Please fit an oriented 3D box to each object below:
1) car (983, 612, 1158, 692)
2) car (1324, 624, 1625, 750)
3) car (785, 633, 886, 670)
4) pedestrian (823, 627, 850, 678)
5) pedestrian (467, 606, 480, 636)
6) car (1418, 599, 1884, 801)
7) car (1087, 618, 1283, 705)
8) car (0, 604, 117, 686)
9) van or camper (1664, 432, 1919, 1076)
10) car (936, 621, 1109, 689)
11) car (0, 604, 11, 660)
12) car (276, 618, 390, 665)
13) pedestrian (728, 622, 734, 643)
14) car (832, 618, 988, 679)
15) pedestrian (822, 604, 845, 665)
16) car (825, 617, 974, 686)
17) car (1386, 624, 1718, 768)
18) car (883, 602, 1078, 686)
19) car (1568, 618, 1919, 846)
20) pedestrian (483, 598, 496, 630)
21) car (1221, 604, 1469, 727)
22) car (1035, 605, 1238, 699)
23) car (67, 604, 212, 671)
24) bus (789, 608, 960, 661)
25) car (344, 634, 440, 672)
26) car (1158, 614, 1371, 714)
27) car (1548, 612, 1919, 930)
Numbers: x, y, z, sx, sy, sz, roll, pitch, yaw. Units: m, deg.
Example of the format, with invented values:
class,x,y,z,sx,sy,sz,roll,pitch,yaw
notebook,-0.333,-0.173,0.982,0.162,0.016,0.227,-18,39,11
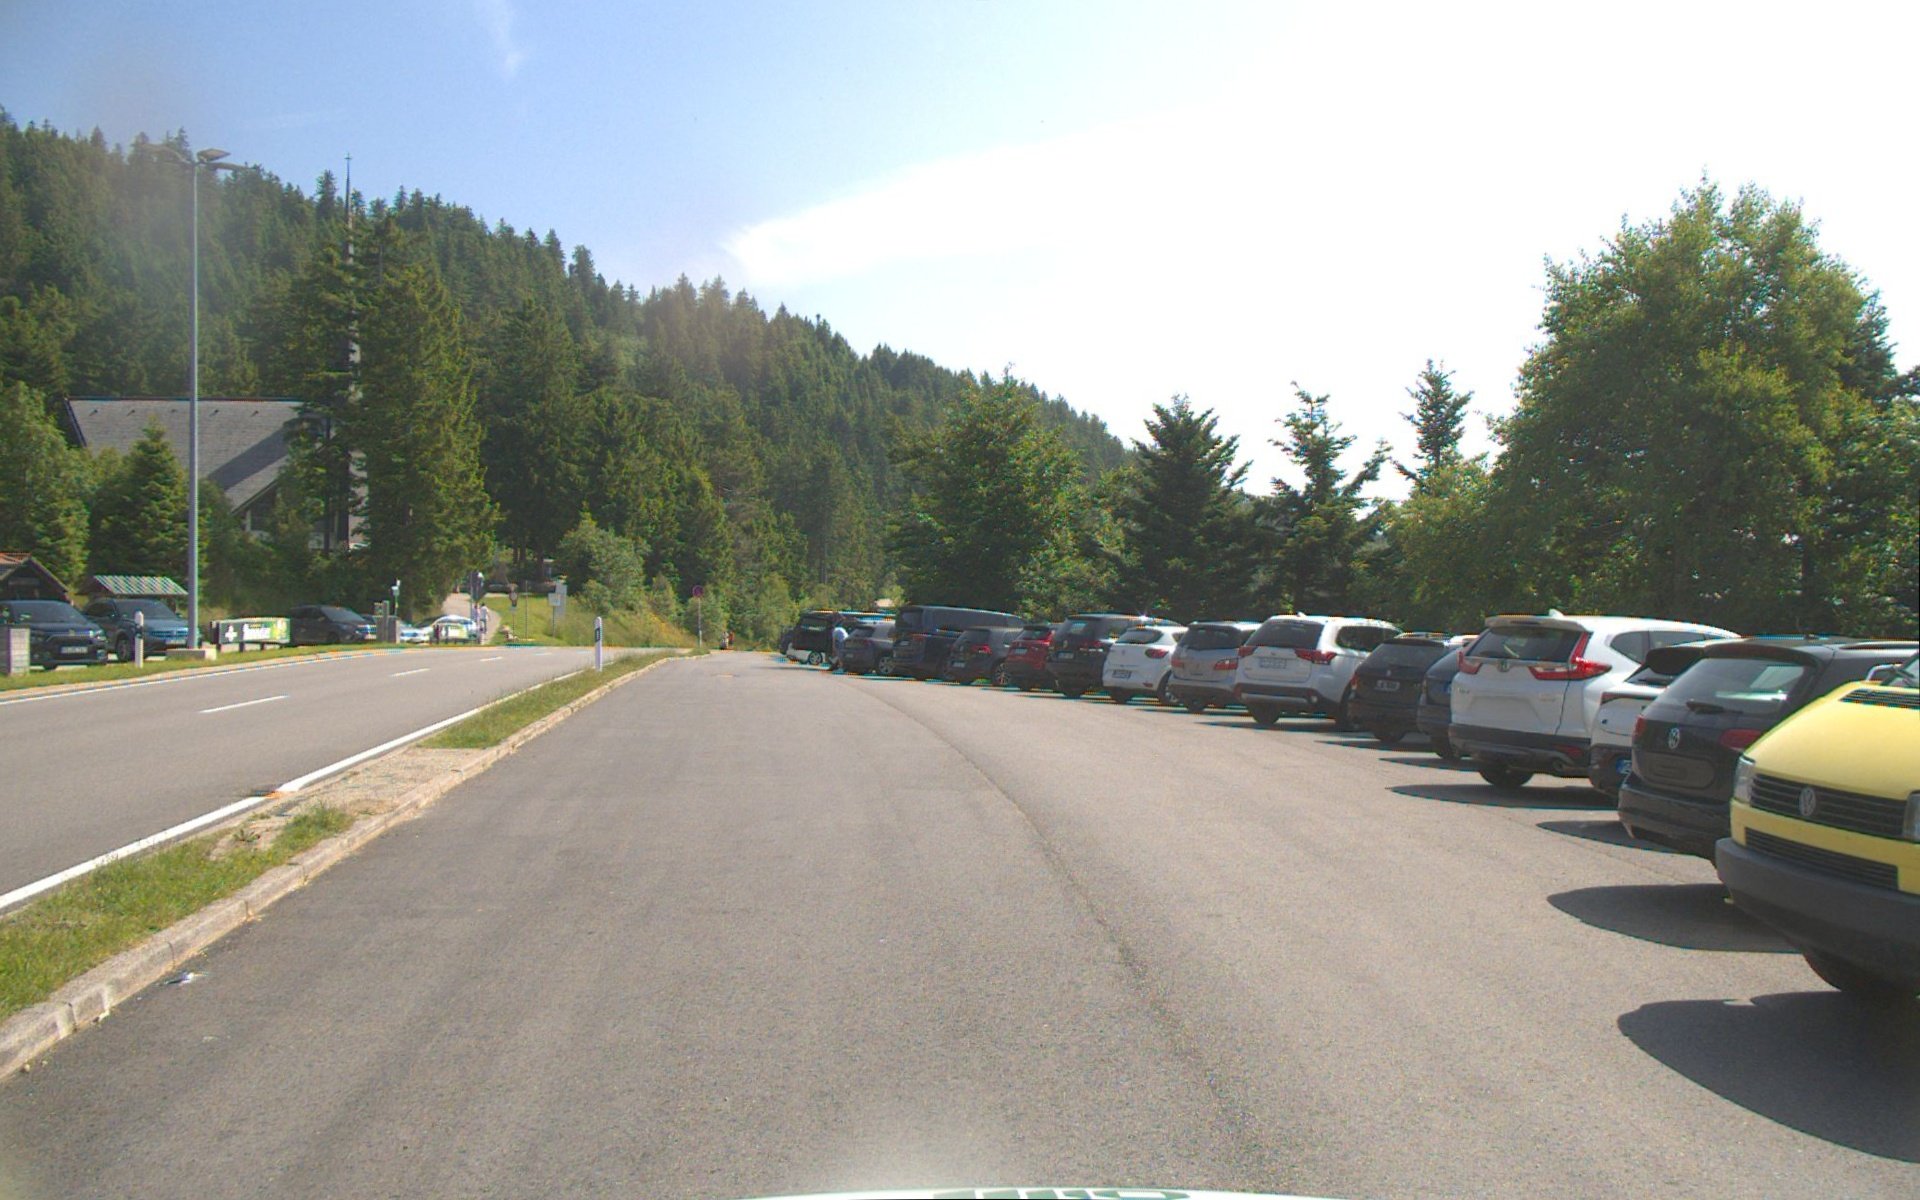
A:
class,x,y,z,sx,sy,sz,roll,pitch,yaw
car,2.581,1.217,38.134,1.833,1.617,3.971,2,-2,45
car,7.025,1.192,22.445,4.006,1.487,1.871,4,-2,-36
car,-5.866,2.434,77.991,4.395,1.321,1.570,6,-2,-24
pedestrian,-3.554,1.515,47.644,0.758,1.427,0.669,0,0,-1
pedestrian,-27.300,1.189,92.864,0.641,1.696,0.640,0,-3,-14
car,6.603,0.958,15.761,4.123,1.678,1.875,4,-2,-28
car,4.467,1.231,32.499,1.739,1.502,3.971,2,-2,45
car,-19.259,0.894,34.552,3.932,1.579,1.771,0,0,44
van or camper,5.513,0.622,6.113,4.991,2.048,1.880,3,0,-5
car,1.548,1.353,40.475,3.953,1.440,1.723,4,-2,-35
car,-30.635,0.998,49.025,1.741,1.701,4.015,-2,-1,36
car,-22.925,1.514,60.447,4.121,1.663,1.784,-1,-2,32
pedestrian,-19.358,2.740,139.745,0.386,1.778,0.406,1,0,9
car,-1.400,1.356,46.357,3.942,1.468,1.822,4,-2,-29
pedestrian,-3.817,1.055,49.844,0.567,1.791,0.632,4,-2,-4
car,-1.803,1.546,49.532,3.954,1.691,1.975,7,-4,-35
car,7.031,1.144,19.561,3.754,1.484,1.646,4,-1,-30
car,0.544,1.164,43.467,4.700,1.913,1.950,4,-2,-27
car,6.972,0.972,12.726,4.026,1.526,1.932,2,-1,-20
pedestrian,-26.628,0.783,93.593,0.641,1.830,0.641,1,0,-14
car,6.112,1.036,25.970,1.833,1.724,4.196,2,-1,45
car,3.740,1.110,34.567,1.958,1.724,4.242,2,-2,45
car,-20.523,0.903,41.323,3.982,1.595,1.732,0,-1,39
bus,-6.520,2.594,126.601,12.586,3.641,2.984,1,1,9
car,-22.955,2.120,66.794,3.891,1.466,1.737,-1,0,36
car,5.487,1.168,29.509,1.790,1.576,3.971,2,-2,45
car,5.781,0.845,9.425,4.272,1.513,1.808,0,0,-11
